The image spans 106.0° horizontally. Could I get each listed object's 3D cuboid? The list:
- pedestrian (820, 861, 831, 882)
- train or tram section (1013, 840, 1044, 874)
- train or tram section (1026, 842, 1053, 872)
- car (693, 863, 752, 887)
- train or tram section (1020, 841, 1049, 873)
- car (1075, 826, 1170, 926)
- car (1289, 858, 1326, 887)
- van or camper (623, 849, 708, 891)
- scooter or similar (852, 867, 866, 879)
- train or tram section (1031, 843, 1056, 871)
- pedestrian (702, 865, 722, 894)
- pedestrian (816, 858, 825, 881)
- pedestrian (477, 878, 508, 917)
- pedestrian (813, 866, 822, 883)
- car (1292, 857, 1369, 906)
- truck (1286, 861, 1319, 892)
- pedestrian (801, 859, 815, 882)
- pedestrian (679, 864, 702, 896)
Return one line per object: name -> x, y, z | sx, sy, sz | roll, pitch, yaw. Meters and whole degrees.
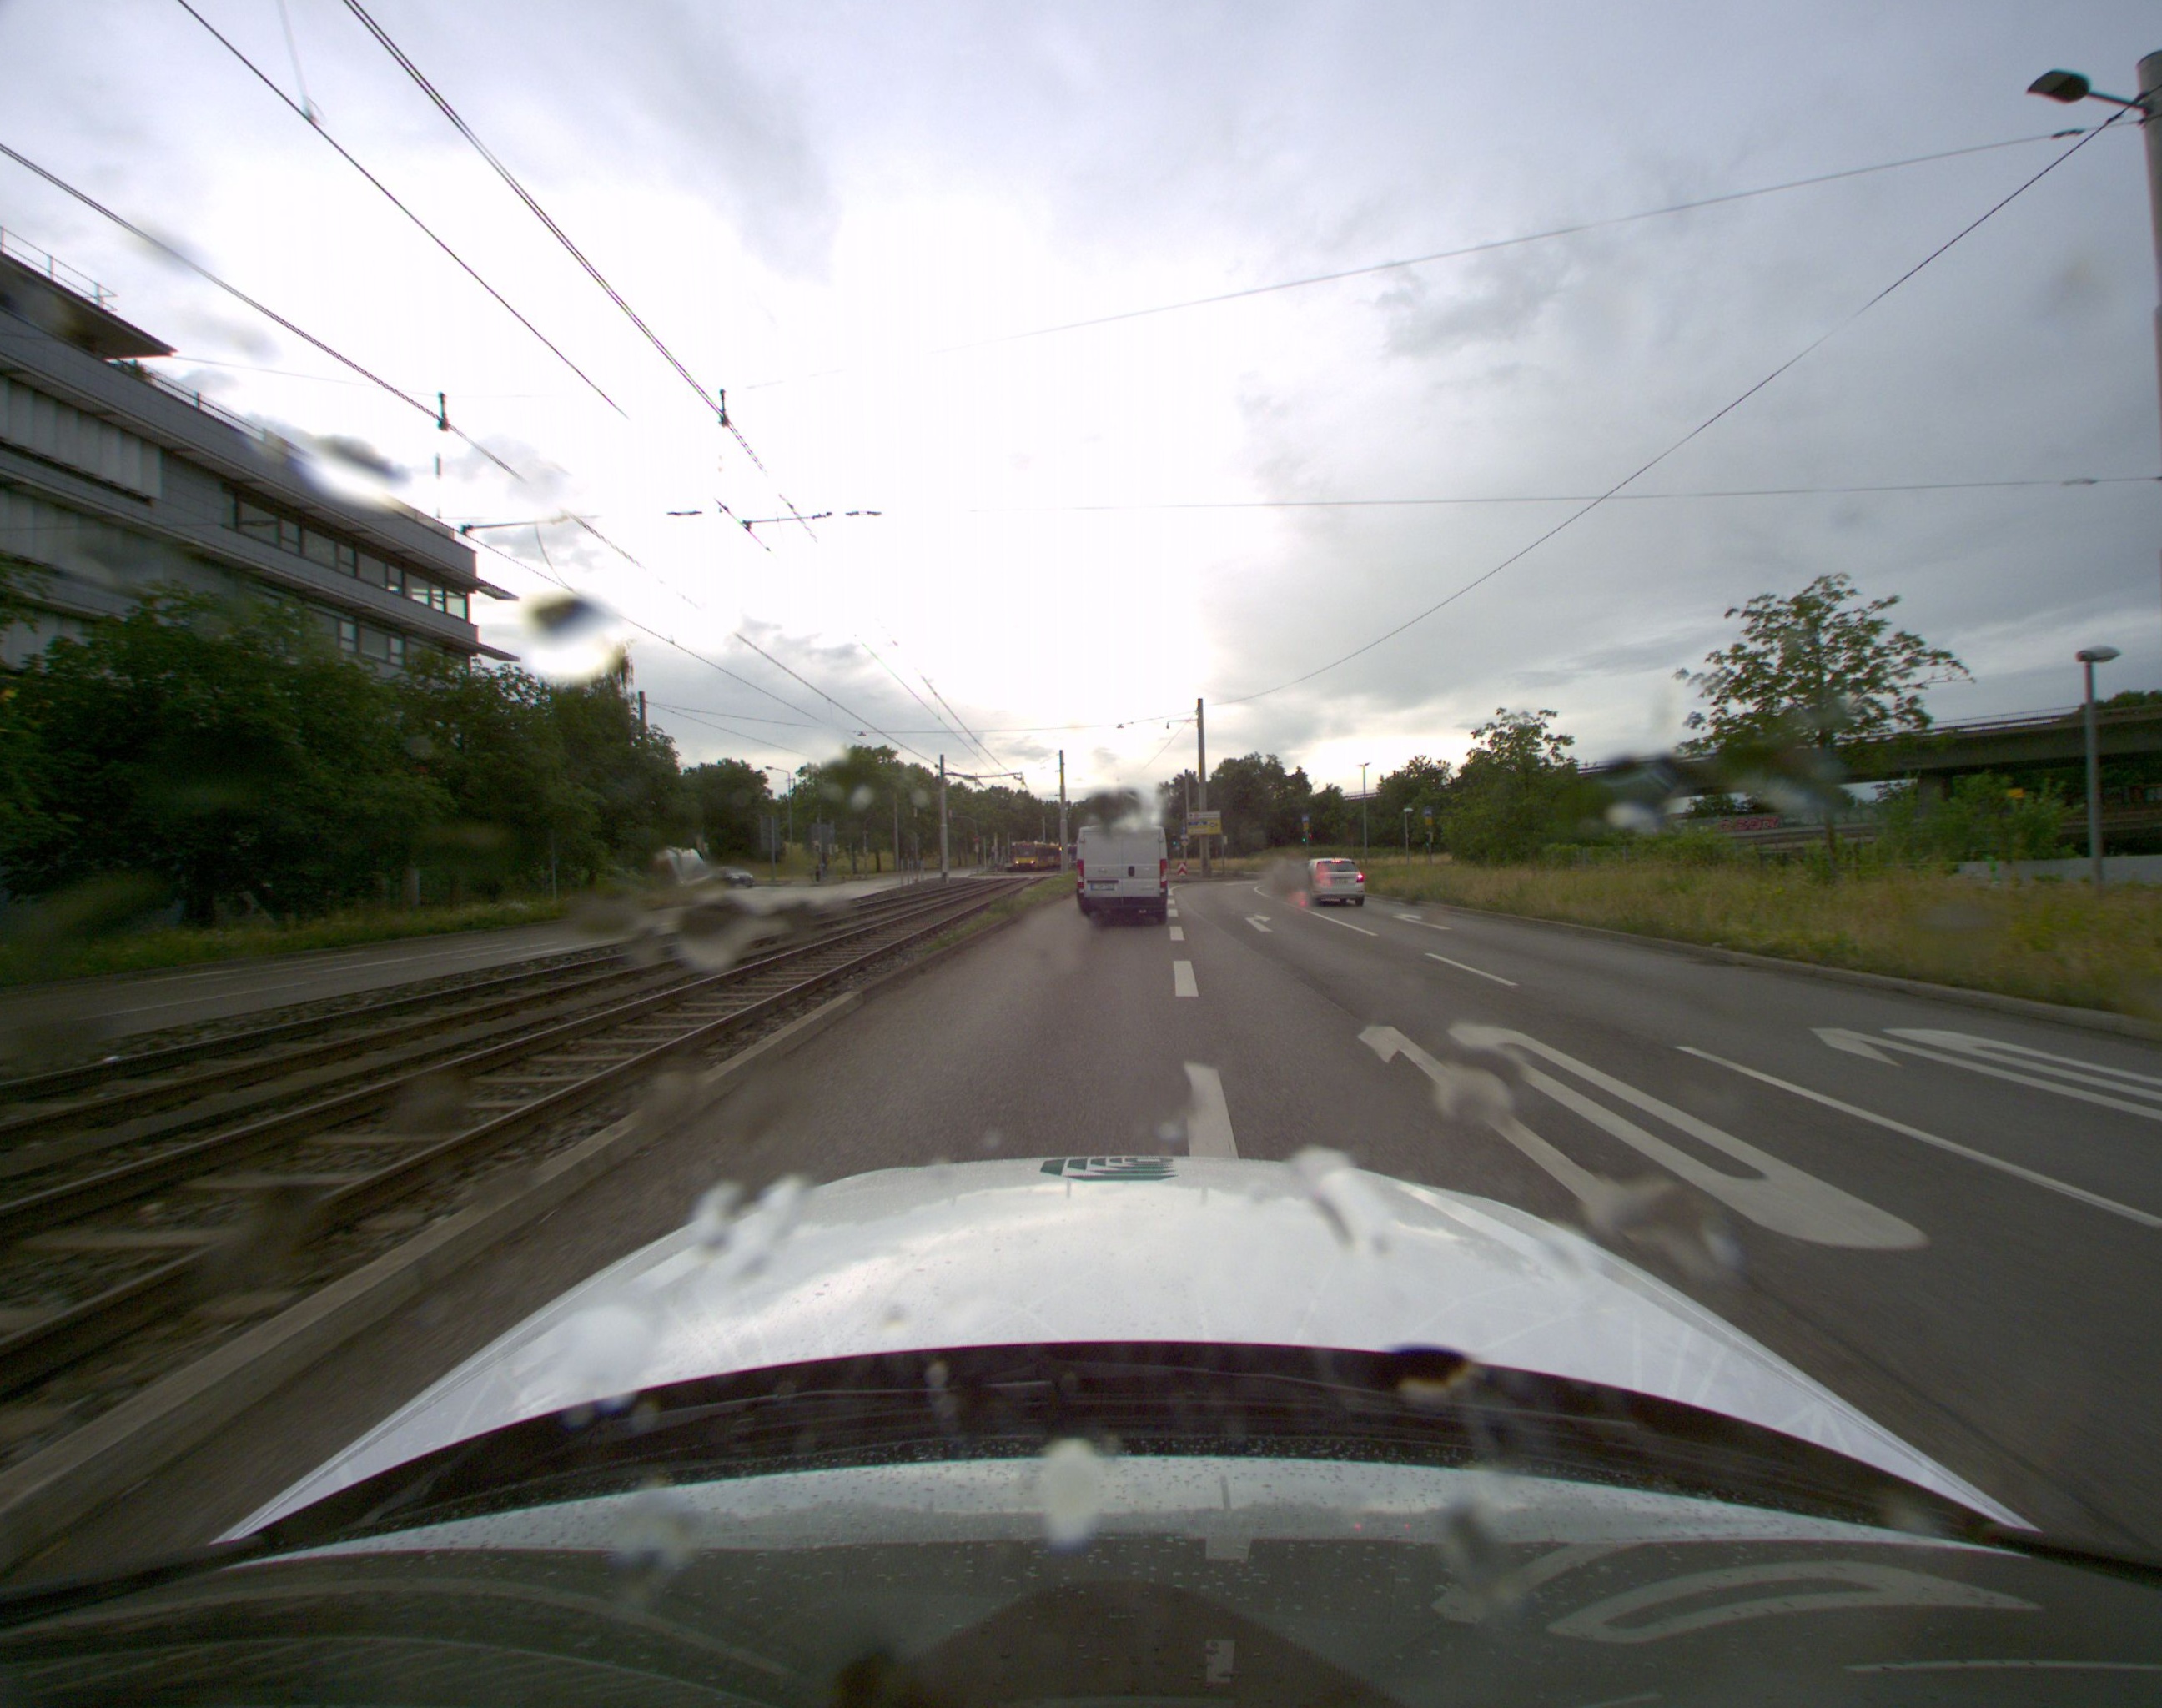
pedestrian -> -21.804, 1.502, 69.503 | 0.504, 1.787, 0.833 | 1, -1, 6
train or tram section -> -6.279, 0.357, 99.009 | 2.916, 3.933, 7.010 | 1, 0, 3
train or tram section -> -5.631, 0.417, 111.510 | 2.916, 3.933, 7.010 | 1, 0, 3
car -> -28.007, 1.635, 63.615 | 4.571, 1.732, 2.013 | -1, 0, 34
train or tram section -> -5.943, 0.387, 105.267 | 2.916, 3.933, 7.010 | 1, 0, 3
car -> 0.954, 0.469, 20.267 | 2.083, 2.196, 5.062 | 0, 0, 1
car -> 11.796, 0.931, 42.520 | 1.776, 1.449, 4.016 | -1, 0, 15
van or camper -> -31.183, 1.181, 61.037 | 7.279, 2.967, 2.507 | -1, 0, 35
scooter or similar -> -22.256, 1.918, 81.515 | 1.287, 1.161, 0.376 | -2, 0, -44
train or tram section -> -5.307, 0.447, 117.882 | 2.916, 3.933, 7.010 | 1, 0, 3
pedestrian -> -23.993, 1.666, 52.922 | 0.627, 1.867, 0.960 | -2, 0, 32
pedestrian -> -22.243, 1.343, 69.604 | 0.493, 1.955, 0.723 | 1, -1, 5
pedestrian -> -27.489, 2.009, 38.041 | 0.722, 1.755, 0.878 | 1, -1, 3
pedestrian -> -23.106, 1.769, 71.473 | 0.493, 1.473, 0.722 | 1, -1, 3
car -> 7.925, 0.820, 26.151 | 1.737, 1.457, 3.678 | 0, 0, 7
truck -> 14.832, 1.473, 54.565 | 1.979, 1.790, 4.432 | -2, 0, 15
pedestrian -> -23.903, 1.454, 71.261 | 0.885, 2.014, 0.864 | -2, -1, -4
pedestrian -> -25.155, 1.645, 52.414 | 0.878, 2.014, 0.951 | -2, -1, 30
